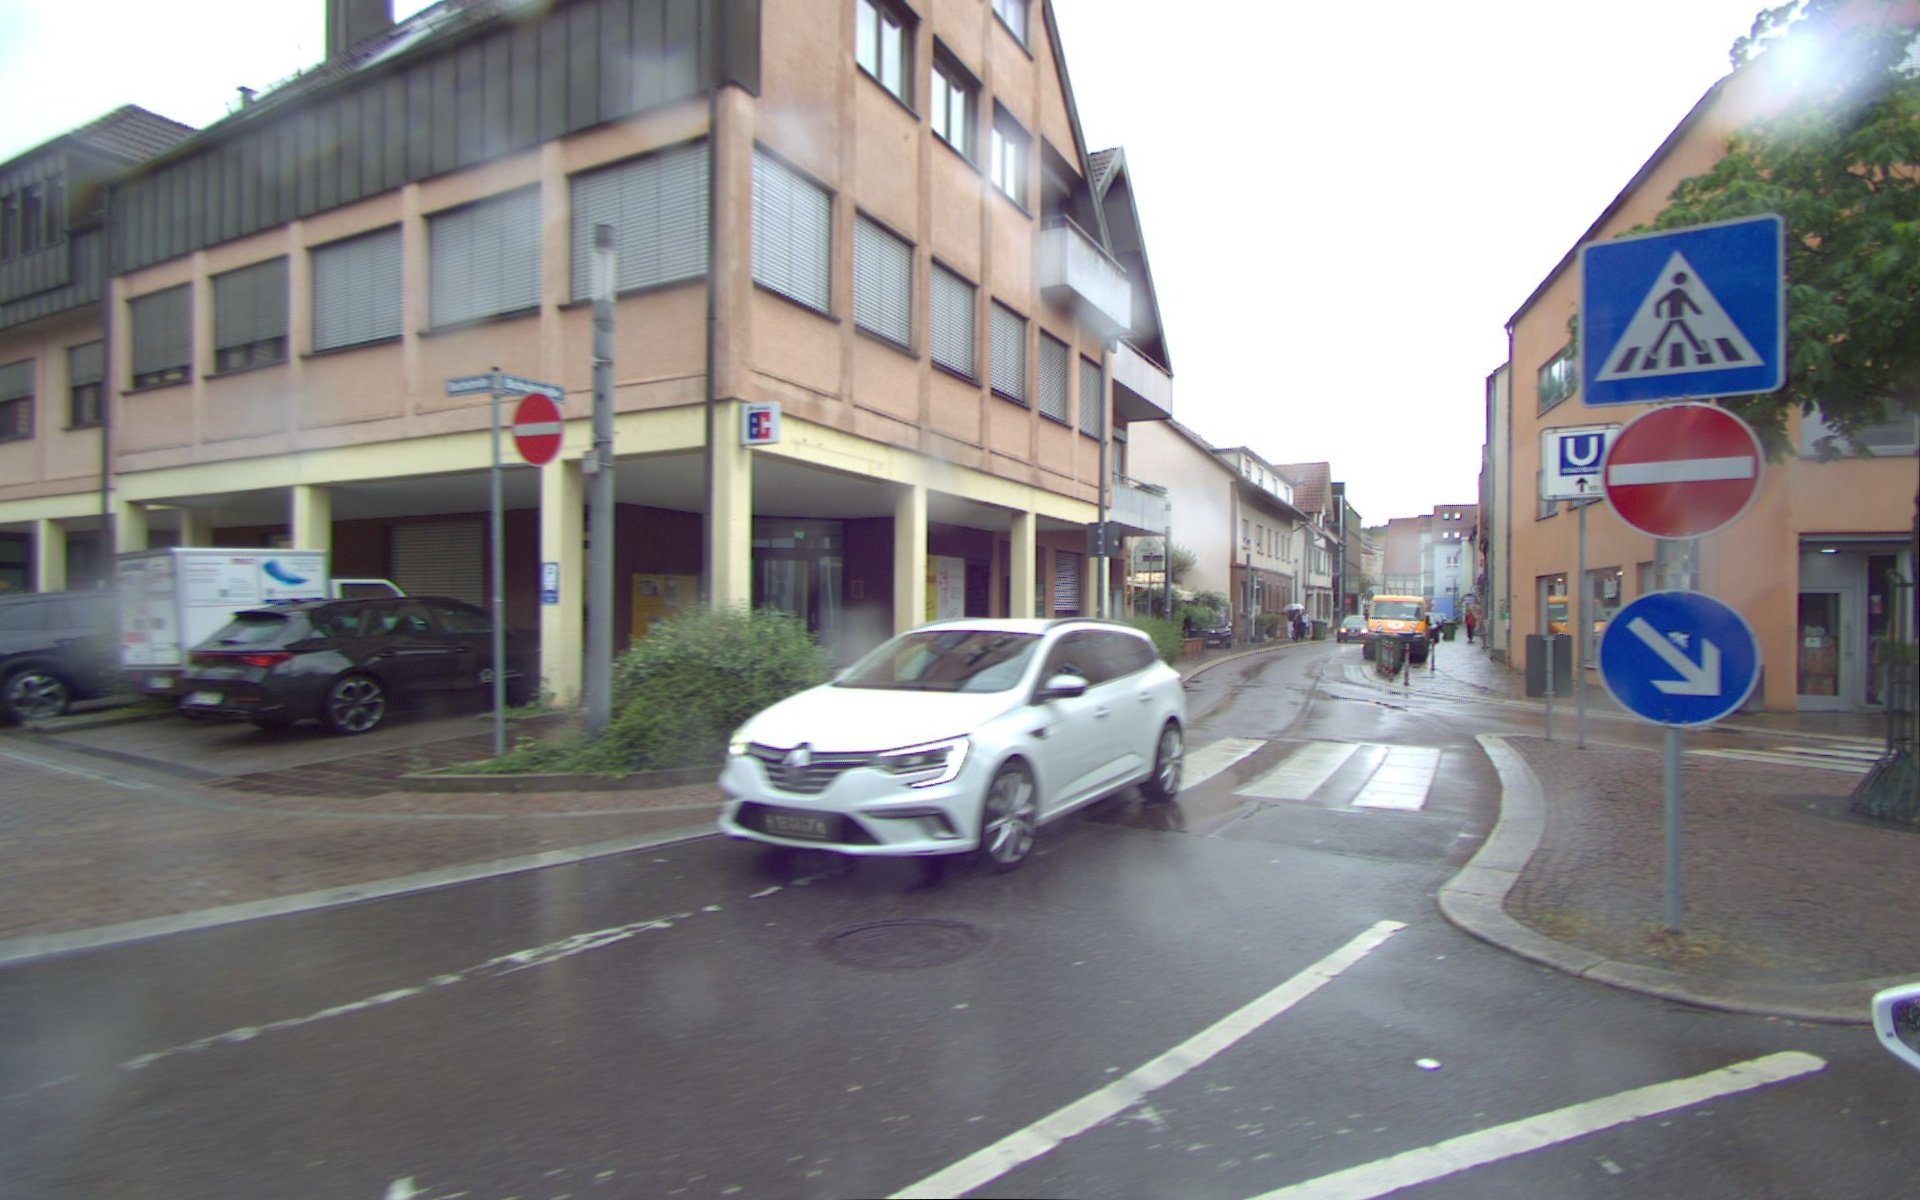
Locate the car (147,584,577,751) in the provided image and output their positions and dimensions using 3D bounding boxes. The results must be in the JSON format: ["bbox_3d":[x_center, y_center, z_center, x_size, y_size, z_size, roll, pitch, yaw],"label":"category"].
[{"bbox_3d":[-6.829,0.643,11.943,1.803,1.528,3.992,-1,2,29],"label":"car"}]

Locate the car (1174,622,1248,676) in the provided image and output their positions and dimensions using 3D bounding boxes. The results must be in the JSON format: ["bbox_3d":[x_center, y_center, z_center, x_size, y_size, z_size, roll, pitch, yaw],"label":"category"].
[{"bbox_3d":[10.515,2.018,42.408,1.961,2.040,3.856,2,0,-3],"label":"car"}]

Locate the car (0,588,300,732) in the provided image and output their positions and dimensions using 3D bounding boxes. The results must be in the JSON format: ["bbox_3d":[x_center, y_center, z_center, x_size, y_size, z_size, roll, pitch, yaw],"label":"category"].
[{"bbox_3d":[-11.951,0.753,14.150,1.803,1.694,3.992,-1,2,29],"label":"car"}]

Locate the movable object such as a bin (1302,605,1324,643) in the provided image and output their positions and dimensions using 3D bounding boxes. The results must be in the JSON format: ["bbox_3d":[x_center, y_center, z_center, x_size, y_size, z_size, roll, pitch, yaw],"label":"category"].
[{"bbox_3d":[19.427,1.334,55.290,0.993,2.040,0.827,2,0,15],"label":"movable object such as a bin"}]

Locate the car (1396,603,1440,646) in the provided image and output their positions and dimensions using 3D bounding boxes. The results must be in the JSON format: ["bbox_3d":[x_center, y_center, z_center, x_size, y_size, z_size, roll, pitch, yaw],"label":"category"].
[{"bbox_3d":[26.814,1.422,58.810,2.169,2.329,5.956,2,0,25],"label":"car"}]

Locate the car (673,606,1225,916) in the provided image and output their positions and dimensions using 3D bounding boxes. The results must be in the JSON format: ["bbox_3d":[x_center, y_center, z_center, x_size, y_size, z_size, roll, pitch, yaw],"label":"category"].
[{"bbox_3d":[0.362,0.843,7.478,1.890,1.511,4.854,0,-1,30],"label":"car"}]

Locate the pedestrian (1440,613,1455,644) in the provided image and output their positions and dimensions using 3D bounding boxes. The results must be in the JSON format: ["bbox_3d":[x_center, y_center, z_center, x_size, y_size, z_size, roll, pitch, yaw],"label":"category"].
[{"bbox_3d":[29.619,1.714,61.045,0.739,1.817,0.802,2,0,23],"label":"pedestrian"}]

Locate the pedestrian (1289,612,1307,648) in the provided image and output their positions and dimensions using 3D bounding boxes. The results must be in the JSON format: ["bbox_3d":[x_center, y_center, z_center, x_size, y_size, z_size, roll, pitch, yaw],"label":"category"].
[{"bbox_3d":[17.393,1.520,51.729,0.739,1.817,0.803,2,0,14],"label":"pedestrian"}]

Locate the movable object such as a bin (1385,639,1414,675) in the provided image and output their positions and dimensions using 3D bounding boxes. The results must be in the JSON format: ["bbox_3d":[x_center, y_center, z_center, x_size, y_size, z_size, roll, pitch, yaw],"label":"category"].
[{"bbox_3d":[13.089,1.688,29.900,0.640,1.013,0.587,2,0,10],"label":"movable object such as a bin"}]

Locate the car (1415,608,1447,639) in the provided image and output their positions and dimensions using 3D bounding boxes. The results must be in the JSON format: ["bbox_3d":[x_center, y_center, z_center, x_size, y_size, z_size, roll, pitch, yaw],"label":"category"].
[{"bbox_3d":[37.917,1.866,80.917,2.169,2.329,5.956,2,0,25],"label":"car"}]

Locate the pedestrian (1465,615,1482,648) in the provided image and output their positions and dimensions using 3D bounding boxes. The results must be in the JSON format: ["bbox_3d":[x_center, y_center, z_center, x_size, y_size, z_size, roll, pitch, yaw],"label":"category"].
[{"bbox_3d":[29.261,1.773,57.263,0.739,1.817,0.802,2,0,23],"label":"pedestrian"}]

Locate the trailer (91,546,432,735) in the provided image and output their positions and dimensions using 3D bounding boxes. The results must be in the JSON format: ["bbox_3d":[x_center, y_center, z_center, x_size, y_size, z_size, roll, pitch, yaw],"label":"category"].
[{"bbox_3d":[-8.932,0.417,13.069,1.803,2.116,3.087,-1,2,29],"label":"trailer"}]

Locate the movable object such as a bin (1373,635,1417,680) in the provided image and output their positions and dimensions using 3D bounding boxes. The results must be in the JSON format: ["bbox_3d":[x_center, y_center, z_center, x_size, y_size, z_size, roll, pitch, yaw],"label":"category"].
[{"bbox_3d":[12.054,1.588,27.867,0.929,1.174,0.775,2,0,9],"label":"movable object such as a bin"}]

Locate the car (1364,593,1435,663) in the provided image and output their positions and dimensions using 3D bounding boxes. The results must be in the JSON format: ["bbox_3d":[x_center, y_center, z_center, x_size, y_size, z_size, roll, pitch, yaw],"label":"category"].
[{"bbox_3d":[16.301,0.998,37.192,2.169,2.329,5.956,2,0,25],"label":"car"}]

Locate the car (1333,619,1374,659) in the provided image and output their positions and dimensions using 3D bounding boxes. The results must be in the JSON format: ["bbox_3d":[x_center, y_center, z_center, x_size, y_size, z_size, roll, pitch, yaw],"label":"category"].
[{"bbox_3d":[21.463,2.067,54.802,1.961,2.040,4.394,2,0,22],"label":"car"}]
